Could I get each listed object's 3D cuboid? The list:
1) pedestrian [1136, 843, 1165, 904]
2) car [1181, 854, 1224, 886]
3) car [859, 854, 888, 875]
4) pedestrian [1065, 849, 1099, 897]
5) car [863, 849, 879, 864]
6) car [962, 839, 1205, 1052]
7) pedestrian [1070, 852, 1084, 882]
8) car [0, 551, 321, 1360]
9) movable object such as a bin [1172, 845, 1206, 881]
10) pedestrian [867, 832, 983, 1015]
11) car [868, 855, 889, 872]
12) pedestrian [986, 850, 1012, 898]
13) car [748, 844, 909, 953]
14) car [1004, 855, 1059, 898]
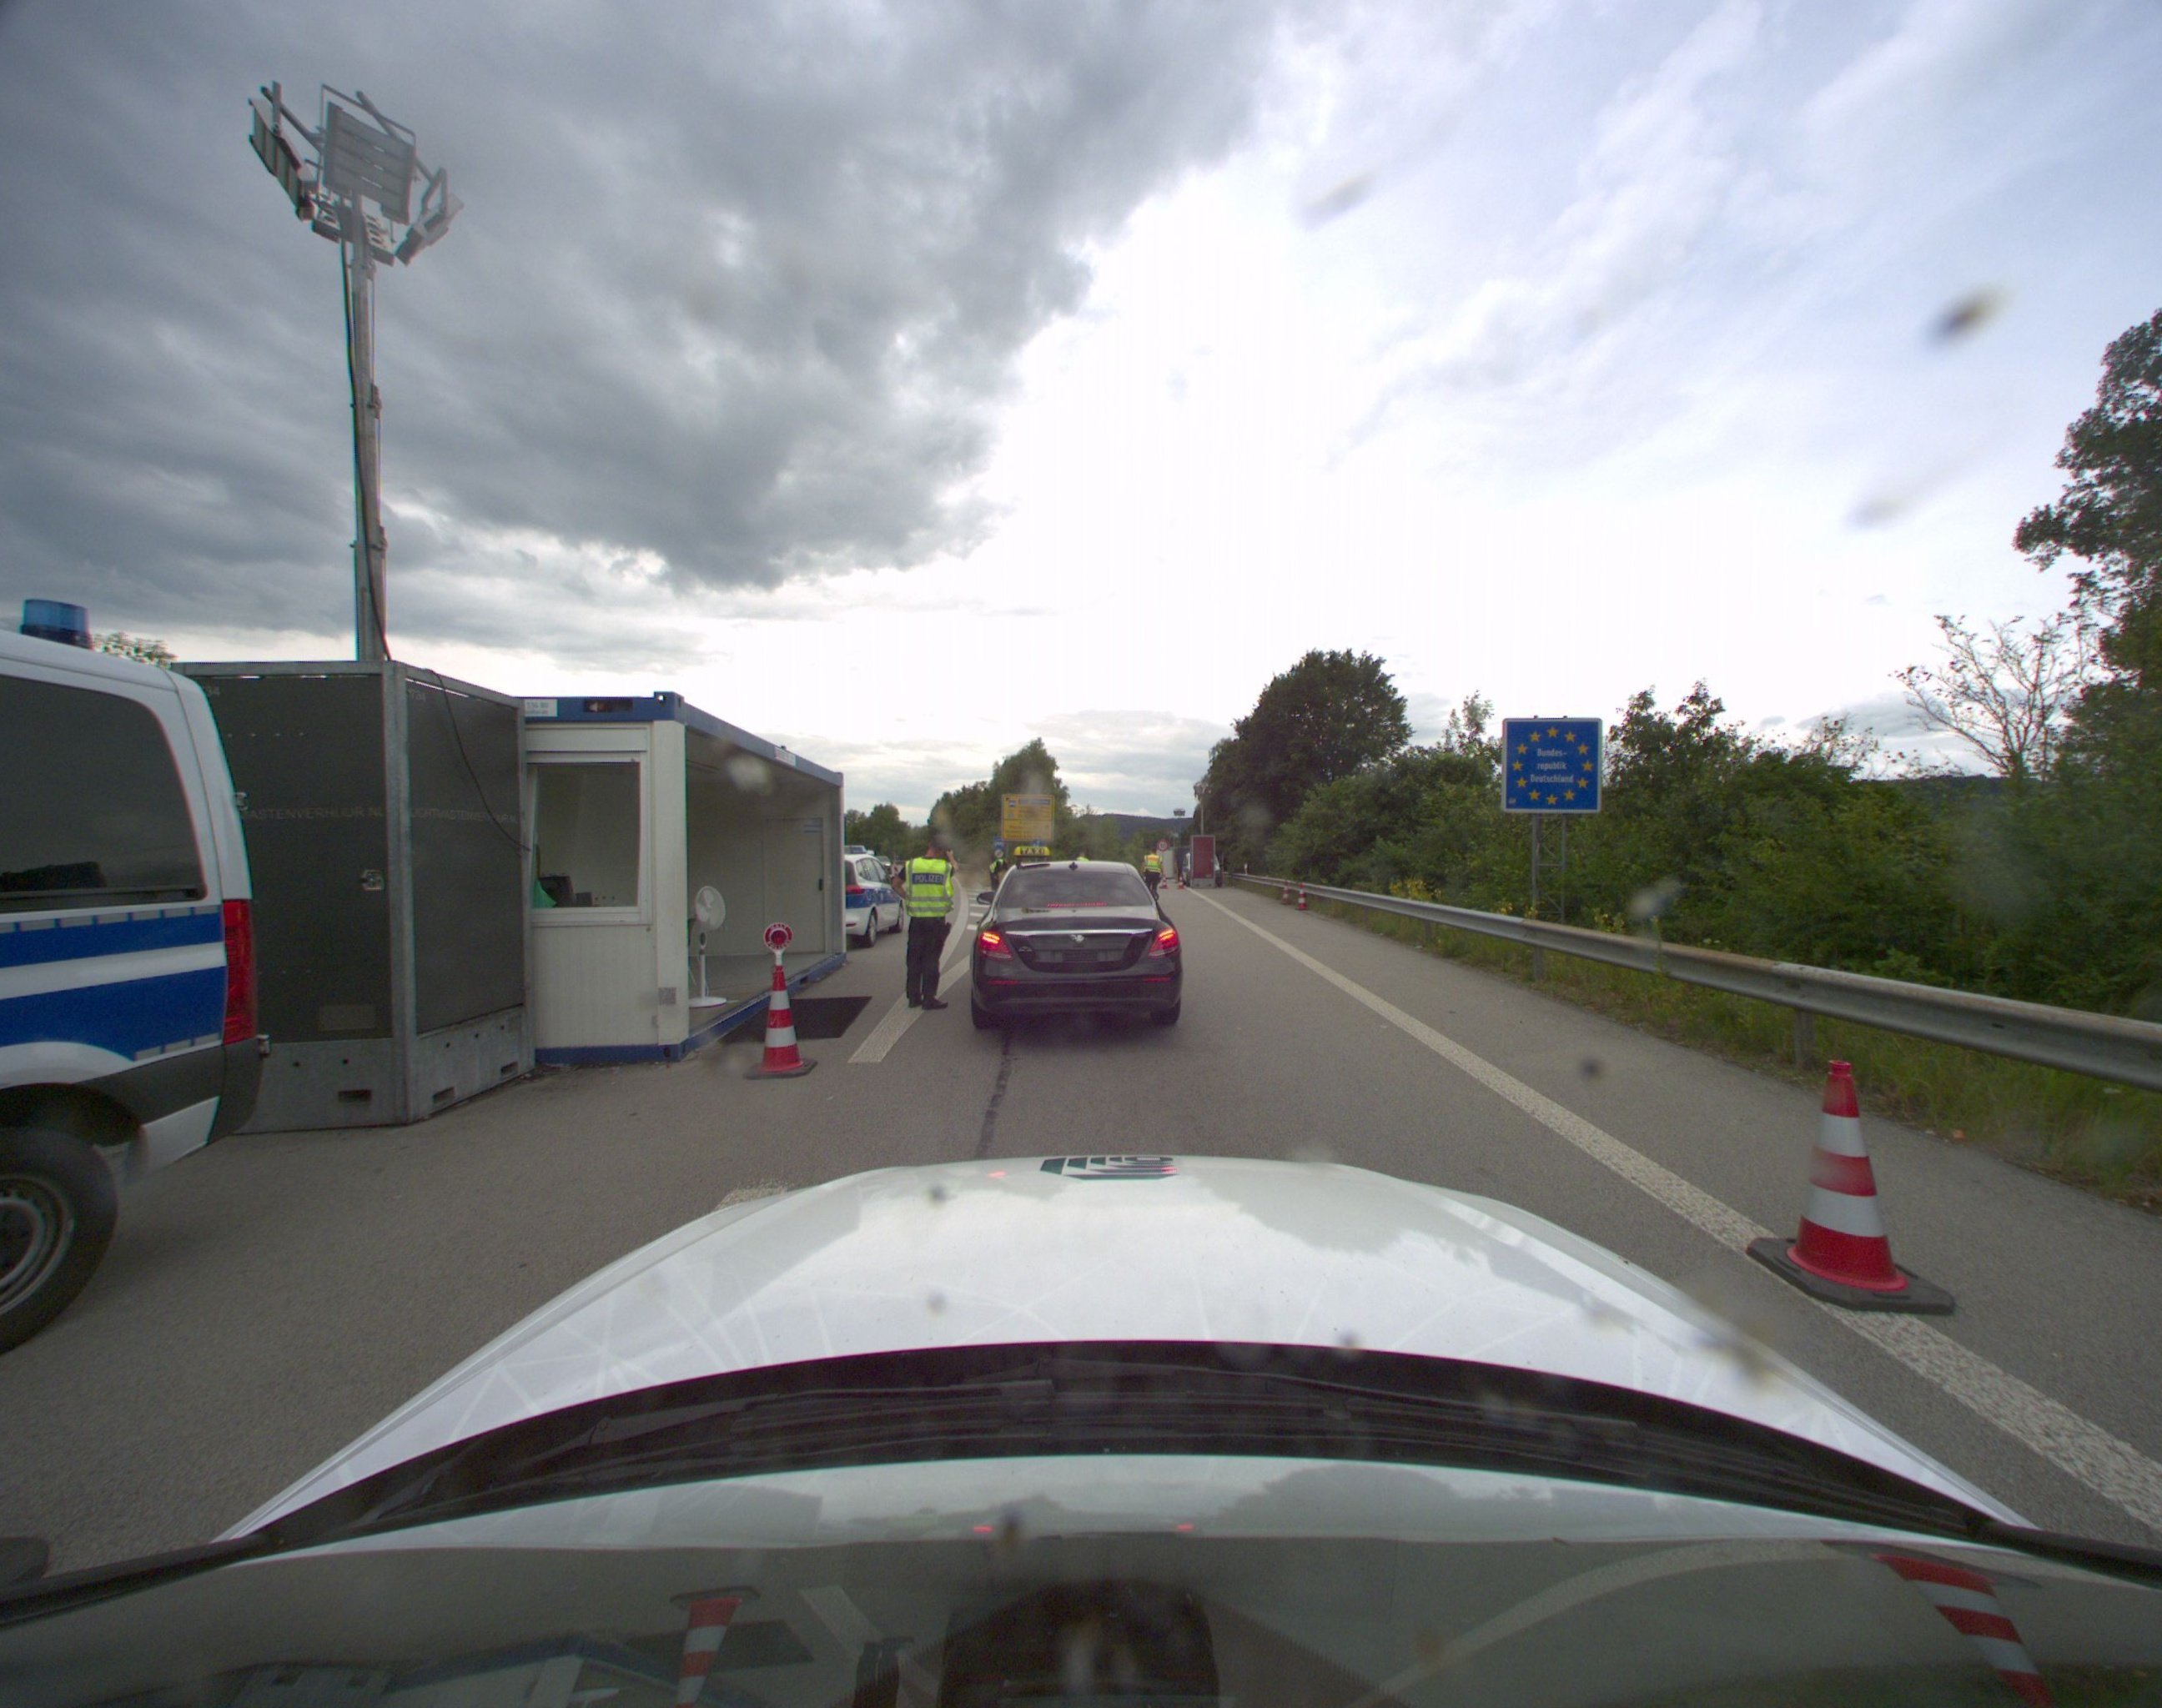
[{"bbox_3d":[2.108,0.583,24.637,0.808,1.830,0.811,-1,-1,7],"label":"pedestrian"},{"bbox_3d":[6.757,0.859,45.779,1.908,1.678,5.087,1,0,3],"label":"car"},{"bbox_3d":[-15.577,0.739,61.188,1.856,1.498,4.240,-1,0,-11],"label":"car"},{"bbox_3d":[0.022,0.690,29.832,0.914,1.698,0.905,0,-1,-30],"label":"pedestrian"},{"bbox_3d":[-31.418,0.397,121.818,1.862,2.222,4.226,-1,0,-21],"label":"car"},{"bbox_3d":[-0.073,0.701,8.442,1.851,1.595,4.371,-1,0,-3],"label":"car"},{"bbox_3d":[-0.275,0.840,54.300,0.659,1.961,0.763,-1,-1,17],"label":"pedestrian"},{"bbox_3d":[-4.264,0.314,0.868,2.023,2.463,5.276,-1,0,-2],"label":"car"},{"bbox_3d":[7.198,0.581,54.620,1.984,2.280,4.172,-1,0,4],"label":"movable object such as a bin"},{"bbox_3d":[-1.569,0.657,8.209,0.752,1.718,0.823,-2,-1,39],"label":"pedestrian"},{"bbox_3d":[-19.078,0.898,76.849,1.858,1.498,4.237,-1,0,-14],"label":"car"},{"bbox_3d":[-3.105,0.751,30.985,0.908,1.769,0.911,-1,0,-1],"label":"pedestrian"},{"bbox_3d":[-4.527,0.732,15.272,1.864,1.743,4.005,-1,0,-2],"label":"car"},{"bbox_3d":[-1.807,0.811,30.962,1.850,1.498,4.255,-1,0,-1],"label":"car"}]
